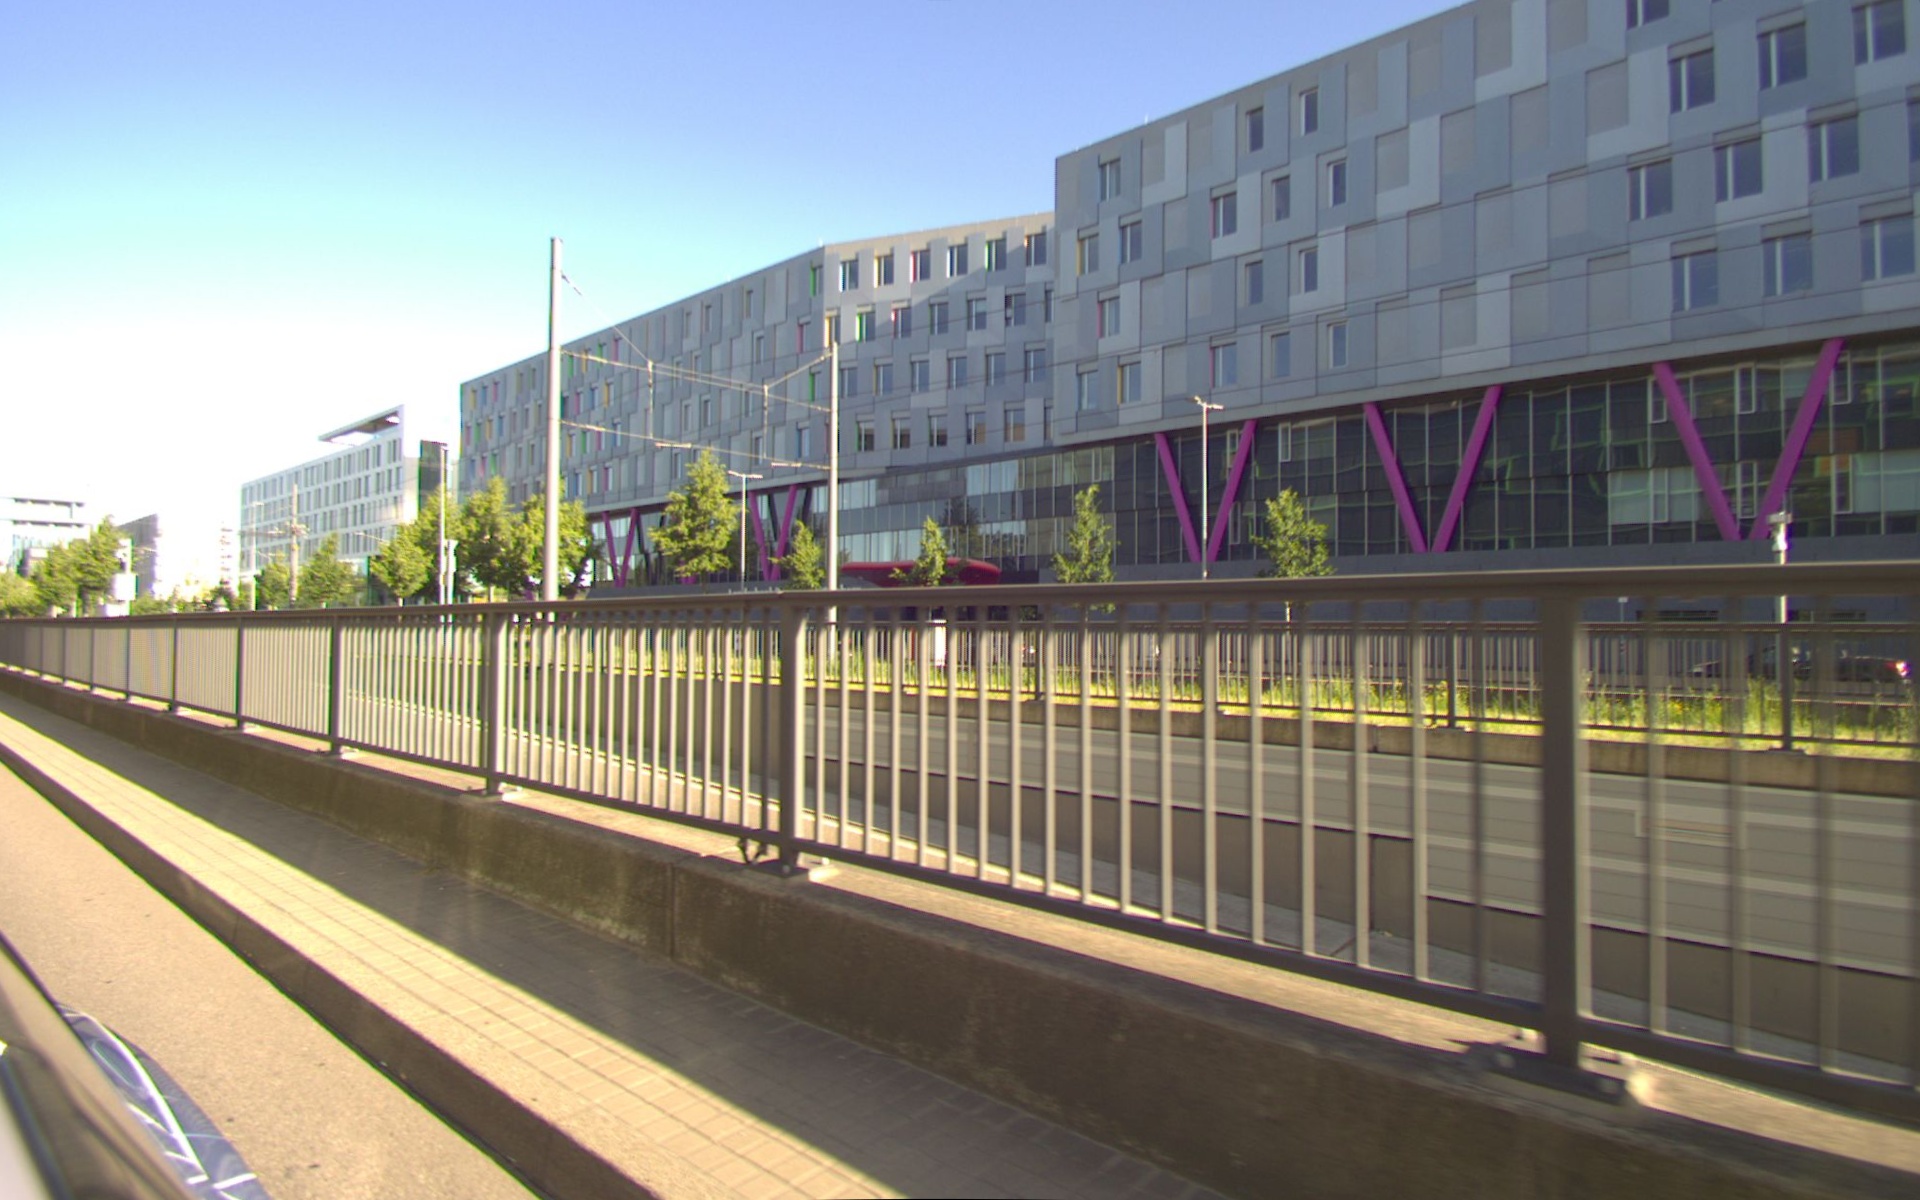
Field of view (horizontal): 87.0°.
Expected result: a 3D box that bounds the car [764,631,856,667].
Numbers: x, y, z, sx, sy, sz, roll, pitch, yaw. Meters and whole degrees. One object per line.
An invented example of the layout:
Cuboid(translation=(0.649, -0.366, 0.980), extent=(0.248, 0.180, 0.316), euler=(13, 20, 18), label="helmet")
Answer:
Cuboid(translation=(-7.165, 2.283, 48.097), extent=(4.719, 1.538, 1.779), euler=(-1, 0, 43), label="car")

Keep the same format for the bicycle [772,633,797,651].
Cuboid(translation=(-11.882, 2.822, 68.495), extent=(1.975, 1.181, 0.514), euler=(-1, -2, 42), label="bicycle")

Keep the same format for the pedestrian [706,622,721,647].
Cuboid(translation=(-18.180, 2.535, 74.711), extent=(0.871, 1.836, 0.713), euler=(-2, -3, 42), label="pedestrian")

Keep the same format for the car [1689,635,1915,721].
Cuboid(translation=(19.950, 1.780, 24.144), extent=(3.998, 1.853, 1.973), euler=(-1, -3, 41), label="car")

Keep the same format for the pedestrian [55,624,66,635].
Cuboid(translation=(-122.188, 4.007, 137.426), extent=(1.053, 1.477, 0.845), euler=(0, -2, -43), label="pedestrian")

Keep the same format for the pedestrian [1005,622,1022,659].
Cuboid(translation=(3.005, 2.273, 56.731), extent=(0.689, 2.029, 0.728), euler=(-1, -2, 42), label="pedestrian")

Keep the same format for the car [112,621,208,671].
Cuboid(translation=(-27.072, 1.519, 34.202), extent=(4.341, 1.538, 1.780), euler=(-1, 0, 41), label="car")

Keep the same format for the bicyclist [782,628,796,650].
Cuboid(translation=(-11.625, 2.666, 68.787), extent=(0.763, 1.507, 0.552), euler=(-2, -2, 42), label="bicyclist")

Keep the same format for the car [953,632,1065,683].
Cuboid(translation=(1.880, 2.199, 39.425), extent=(3.998, 1.853, 1.973), euler=(-1, -3, 41), label="car")
